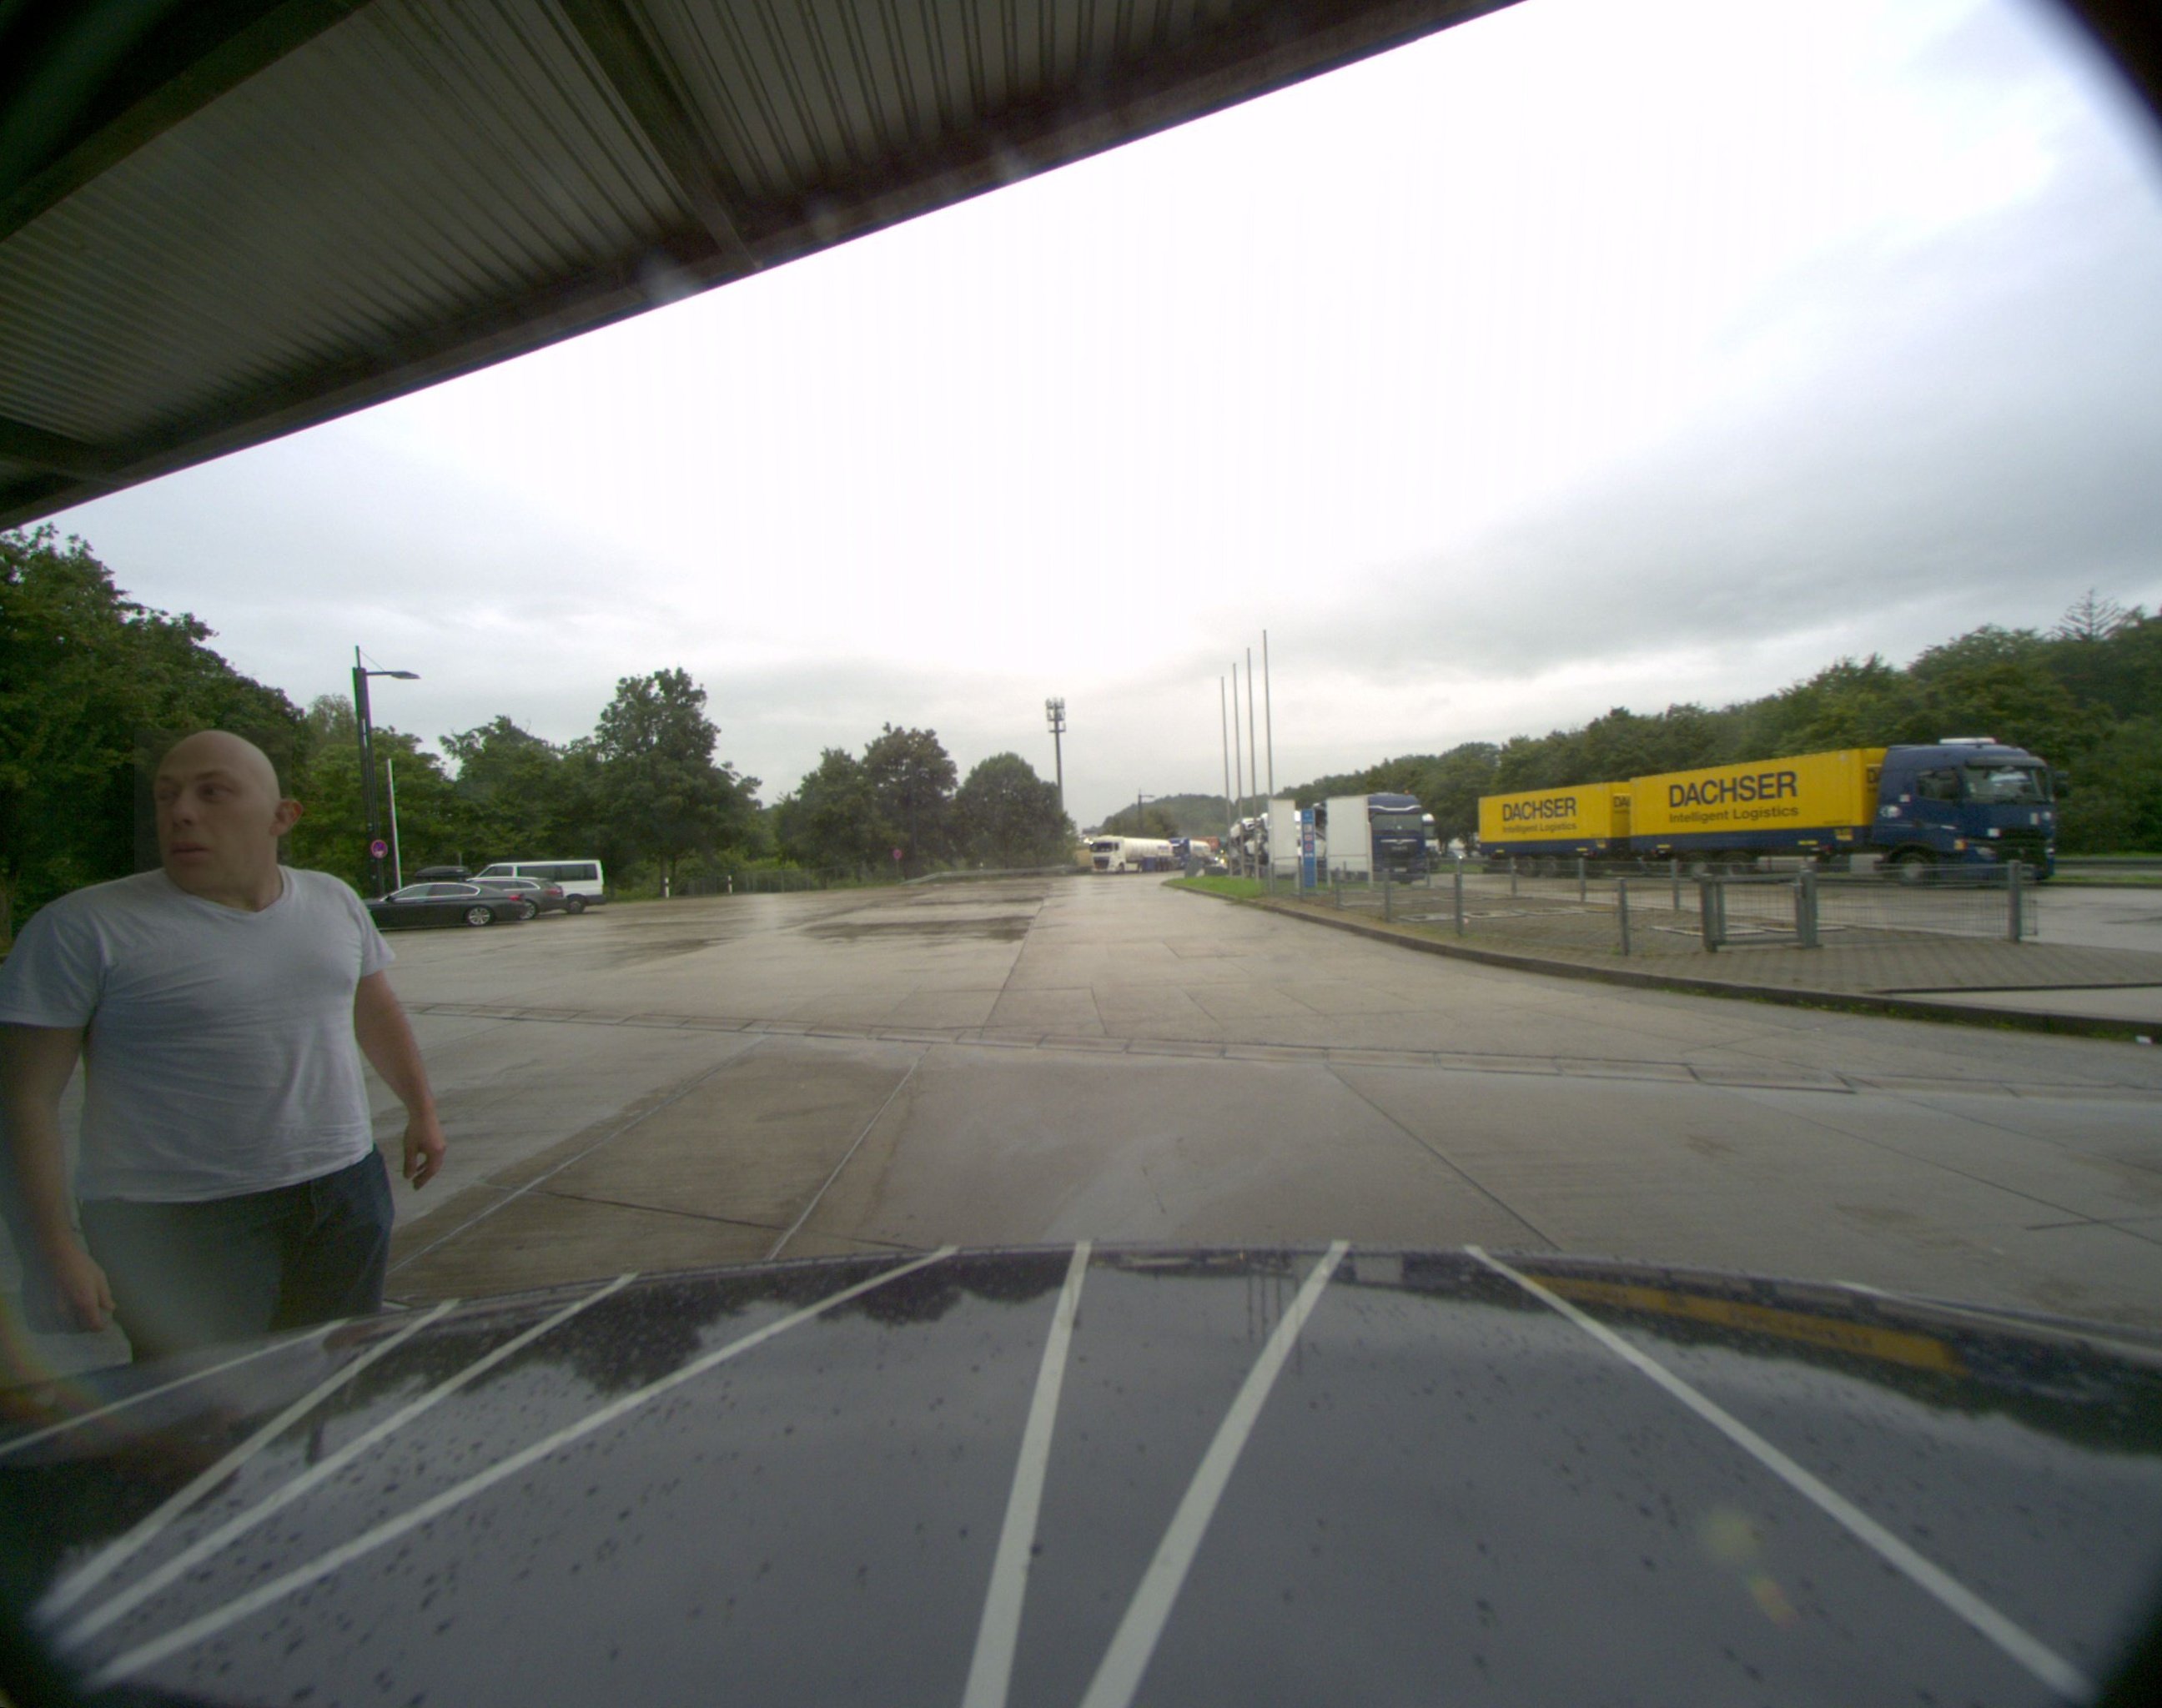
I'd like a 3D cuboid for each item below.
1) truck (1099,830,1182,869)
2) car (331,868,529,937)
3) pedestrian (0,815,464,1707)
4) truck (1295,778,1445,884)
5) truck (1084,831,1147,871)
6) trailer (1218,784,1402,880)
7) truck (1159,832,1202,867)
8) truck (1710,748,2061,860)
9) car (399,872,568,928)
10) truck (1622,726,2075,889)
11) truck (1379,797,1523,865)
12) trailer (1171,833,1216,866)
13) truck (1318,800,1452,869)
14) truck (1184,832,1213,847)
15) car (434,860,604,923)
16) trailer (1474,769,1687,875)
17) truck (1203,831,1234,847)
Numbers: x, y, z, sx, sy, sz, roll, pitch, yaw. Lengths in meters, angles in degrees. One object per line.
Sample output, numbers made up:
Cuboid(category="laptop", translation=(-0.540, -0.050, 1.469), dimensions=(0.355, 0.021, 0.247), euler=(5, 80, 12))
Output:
Cuboid(category="truck", translation=(6.199, -0.523, 76.347), dimensions=(3.243, 3.544, 11.995), euler=(-2, 1, 31))
Cuboid(category="car", translation=(-19.128, 1.371, 22.640), dimensions=(4.187, 1.720, 1.995), euler=(-2, 0, -33))
Cuboid(category="pedestrian", translation=(-1.723, 0.841, 1.406), dimensions=(0.493, 1.800, 0.634), euler=(-2, 2, 10))
Cuboid(category="truck", translation=(12.300, -0.924, 33.245), dimensions=(2.990, 4.009, 7.259), euler=(-2, 1, -7))
Cuboid(category="truck", translation=(3.316, -0.356, 71.436), dimensions=(3.243, 3.544, 6.114), euler=(-2, 1, 31))
Cuboid(category="trailer", translation=(11.372, -1.001, 40.937), dimensions=(2.990, 4.009, 16.597), euler=(-2, 1, -7))
Cuboid(category="truck", translation=(11.328, -0.526, 85.732), dimensions=(3.045, 3.745, 6.475), euler=(-2, 1, 23))
Cuboid(category="truck", translation=(33.770, -1.853, 32.928), dimensions=(2.991, 4.009, 10.464), euler=(-2, 1, -10))
Cuboid(category="car", translation=(-19.656, 1.457, 25.282), dimensions=(4.187, 1.547, 1.995), euler=(-2, 0, -33))
Cuboid(category="truck", translation=(23.057, -1.217, 24.306), dimensions=(2.774, 4.009, 10.632), euler=(-2, 1, -8))
Cuboid(category="truck", translation=(24.359, -1.407, 50.953), dimensions=(2.991, 4.009, 10.464), euler=(-2, 1, -10))
Cuboid(category="trailer", translation=(13.669, -0.653, 91.439), dimensions=(2.898, 3.618, 10.586), euler=(-2, 1, 22))
Cuboid(category="truck", translation=(19.757, -1.223, 50.429), dimensions=(2.991, 4.009, 10.464), euler=(-2, 1, -10))
Cuboid(category="truck", translation=(30.783, -3.679, 199.843), dimensions=(3.251, 3.543, 16.548), euler=(-2, 1, -7))
Cuboid(category="car", translation=(-20.393, 1.290, 27.821), dimensions=(4.780, 1.974, 2.010), euler=(-2, 0, -36))
Cuboid(category="trailer", translation=(21.781, -1.278, 33.989), dimensions=(2.774, 4.009, 8.853), euler=(-2, 1, -8))
Cuboid(category="truck", translation=(32.853, -3.550, 182.685), dimensions=(3.251, 3.544, 14.654), euler=(-1, 1, -7))
